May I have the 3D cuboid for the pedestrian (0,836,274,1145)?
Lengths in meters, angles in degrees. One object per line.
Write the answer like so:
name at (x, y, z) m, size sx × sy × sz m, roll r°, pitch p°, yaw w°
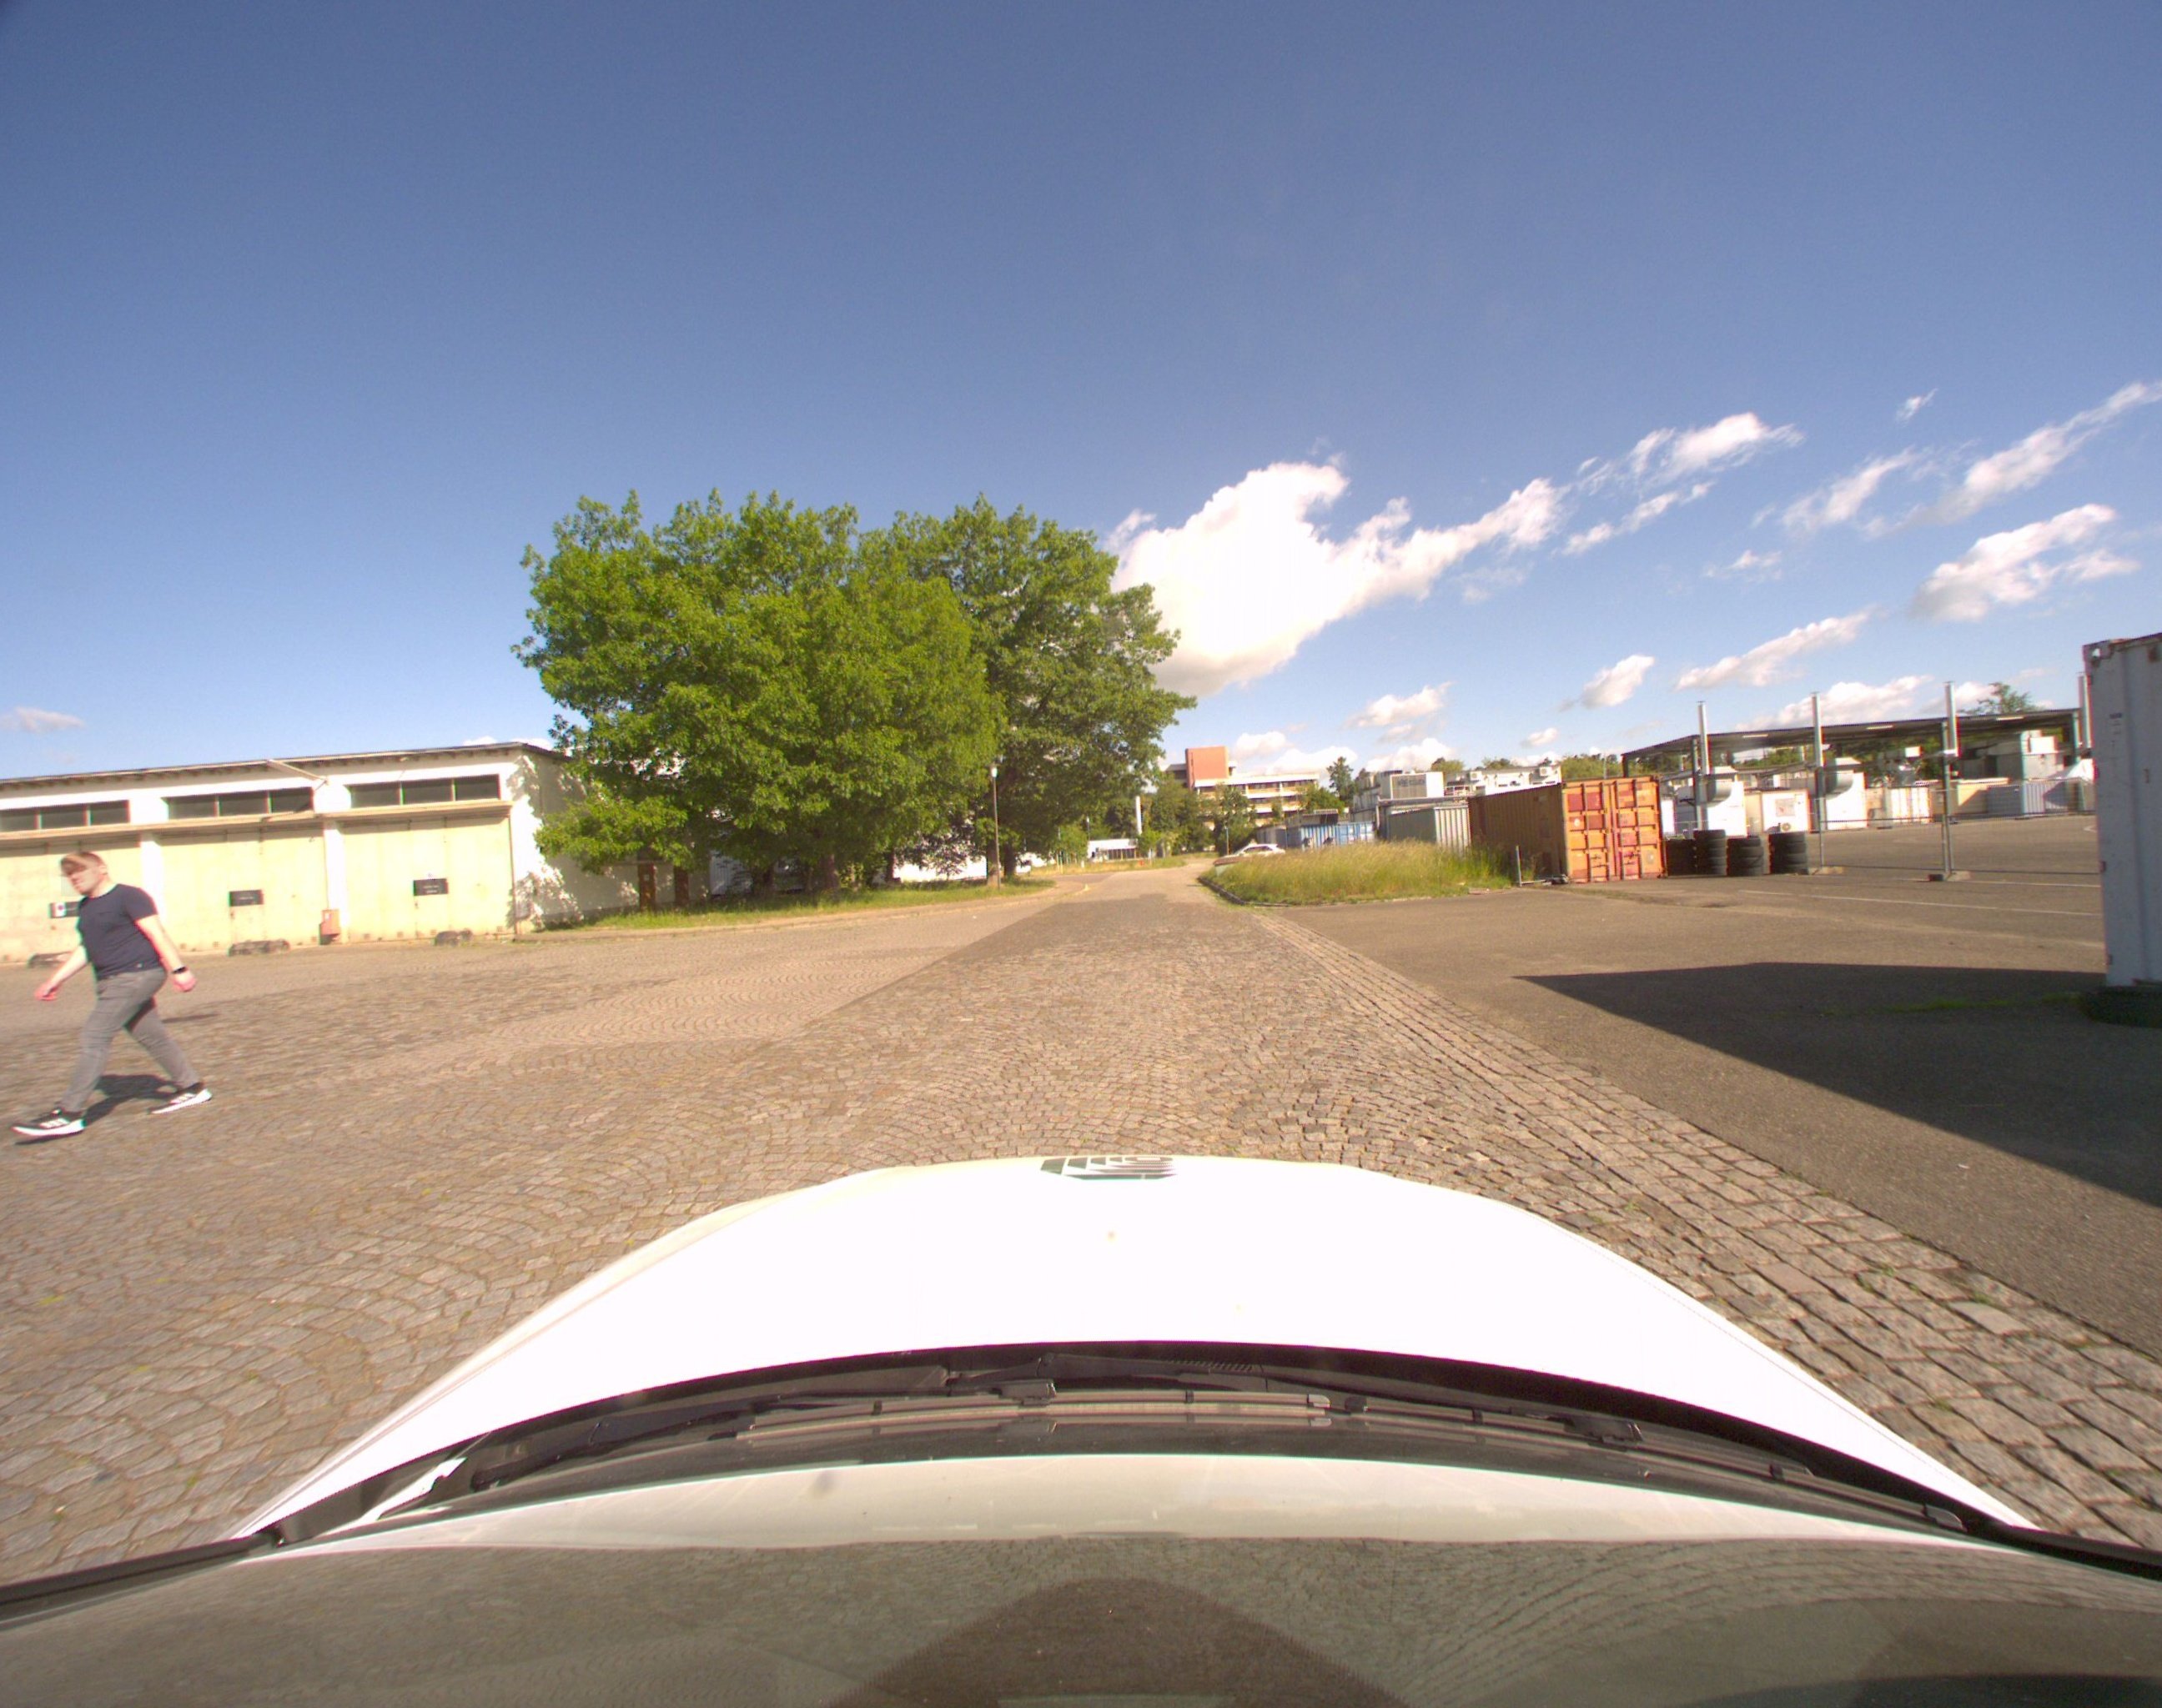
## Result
pedestrian at (-6.683, 0.868, 5.695) m, size 0.793 × 1.914 × 1.144 m, roll -4°, pitch 0°, yaw 6°

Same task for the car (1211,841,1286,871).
car at (11.068, 0.153, 54.105) m, size 4.567 × 1.677 × 1.877 m, roll -4°, pitch 0°, yaw 4°
